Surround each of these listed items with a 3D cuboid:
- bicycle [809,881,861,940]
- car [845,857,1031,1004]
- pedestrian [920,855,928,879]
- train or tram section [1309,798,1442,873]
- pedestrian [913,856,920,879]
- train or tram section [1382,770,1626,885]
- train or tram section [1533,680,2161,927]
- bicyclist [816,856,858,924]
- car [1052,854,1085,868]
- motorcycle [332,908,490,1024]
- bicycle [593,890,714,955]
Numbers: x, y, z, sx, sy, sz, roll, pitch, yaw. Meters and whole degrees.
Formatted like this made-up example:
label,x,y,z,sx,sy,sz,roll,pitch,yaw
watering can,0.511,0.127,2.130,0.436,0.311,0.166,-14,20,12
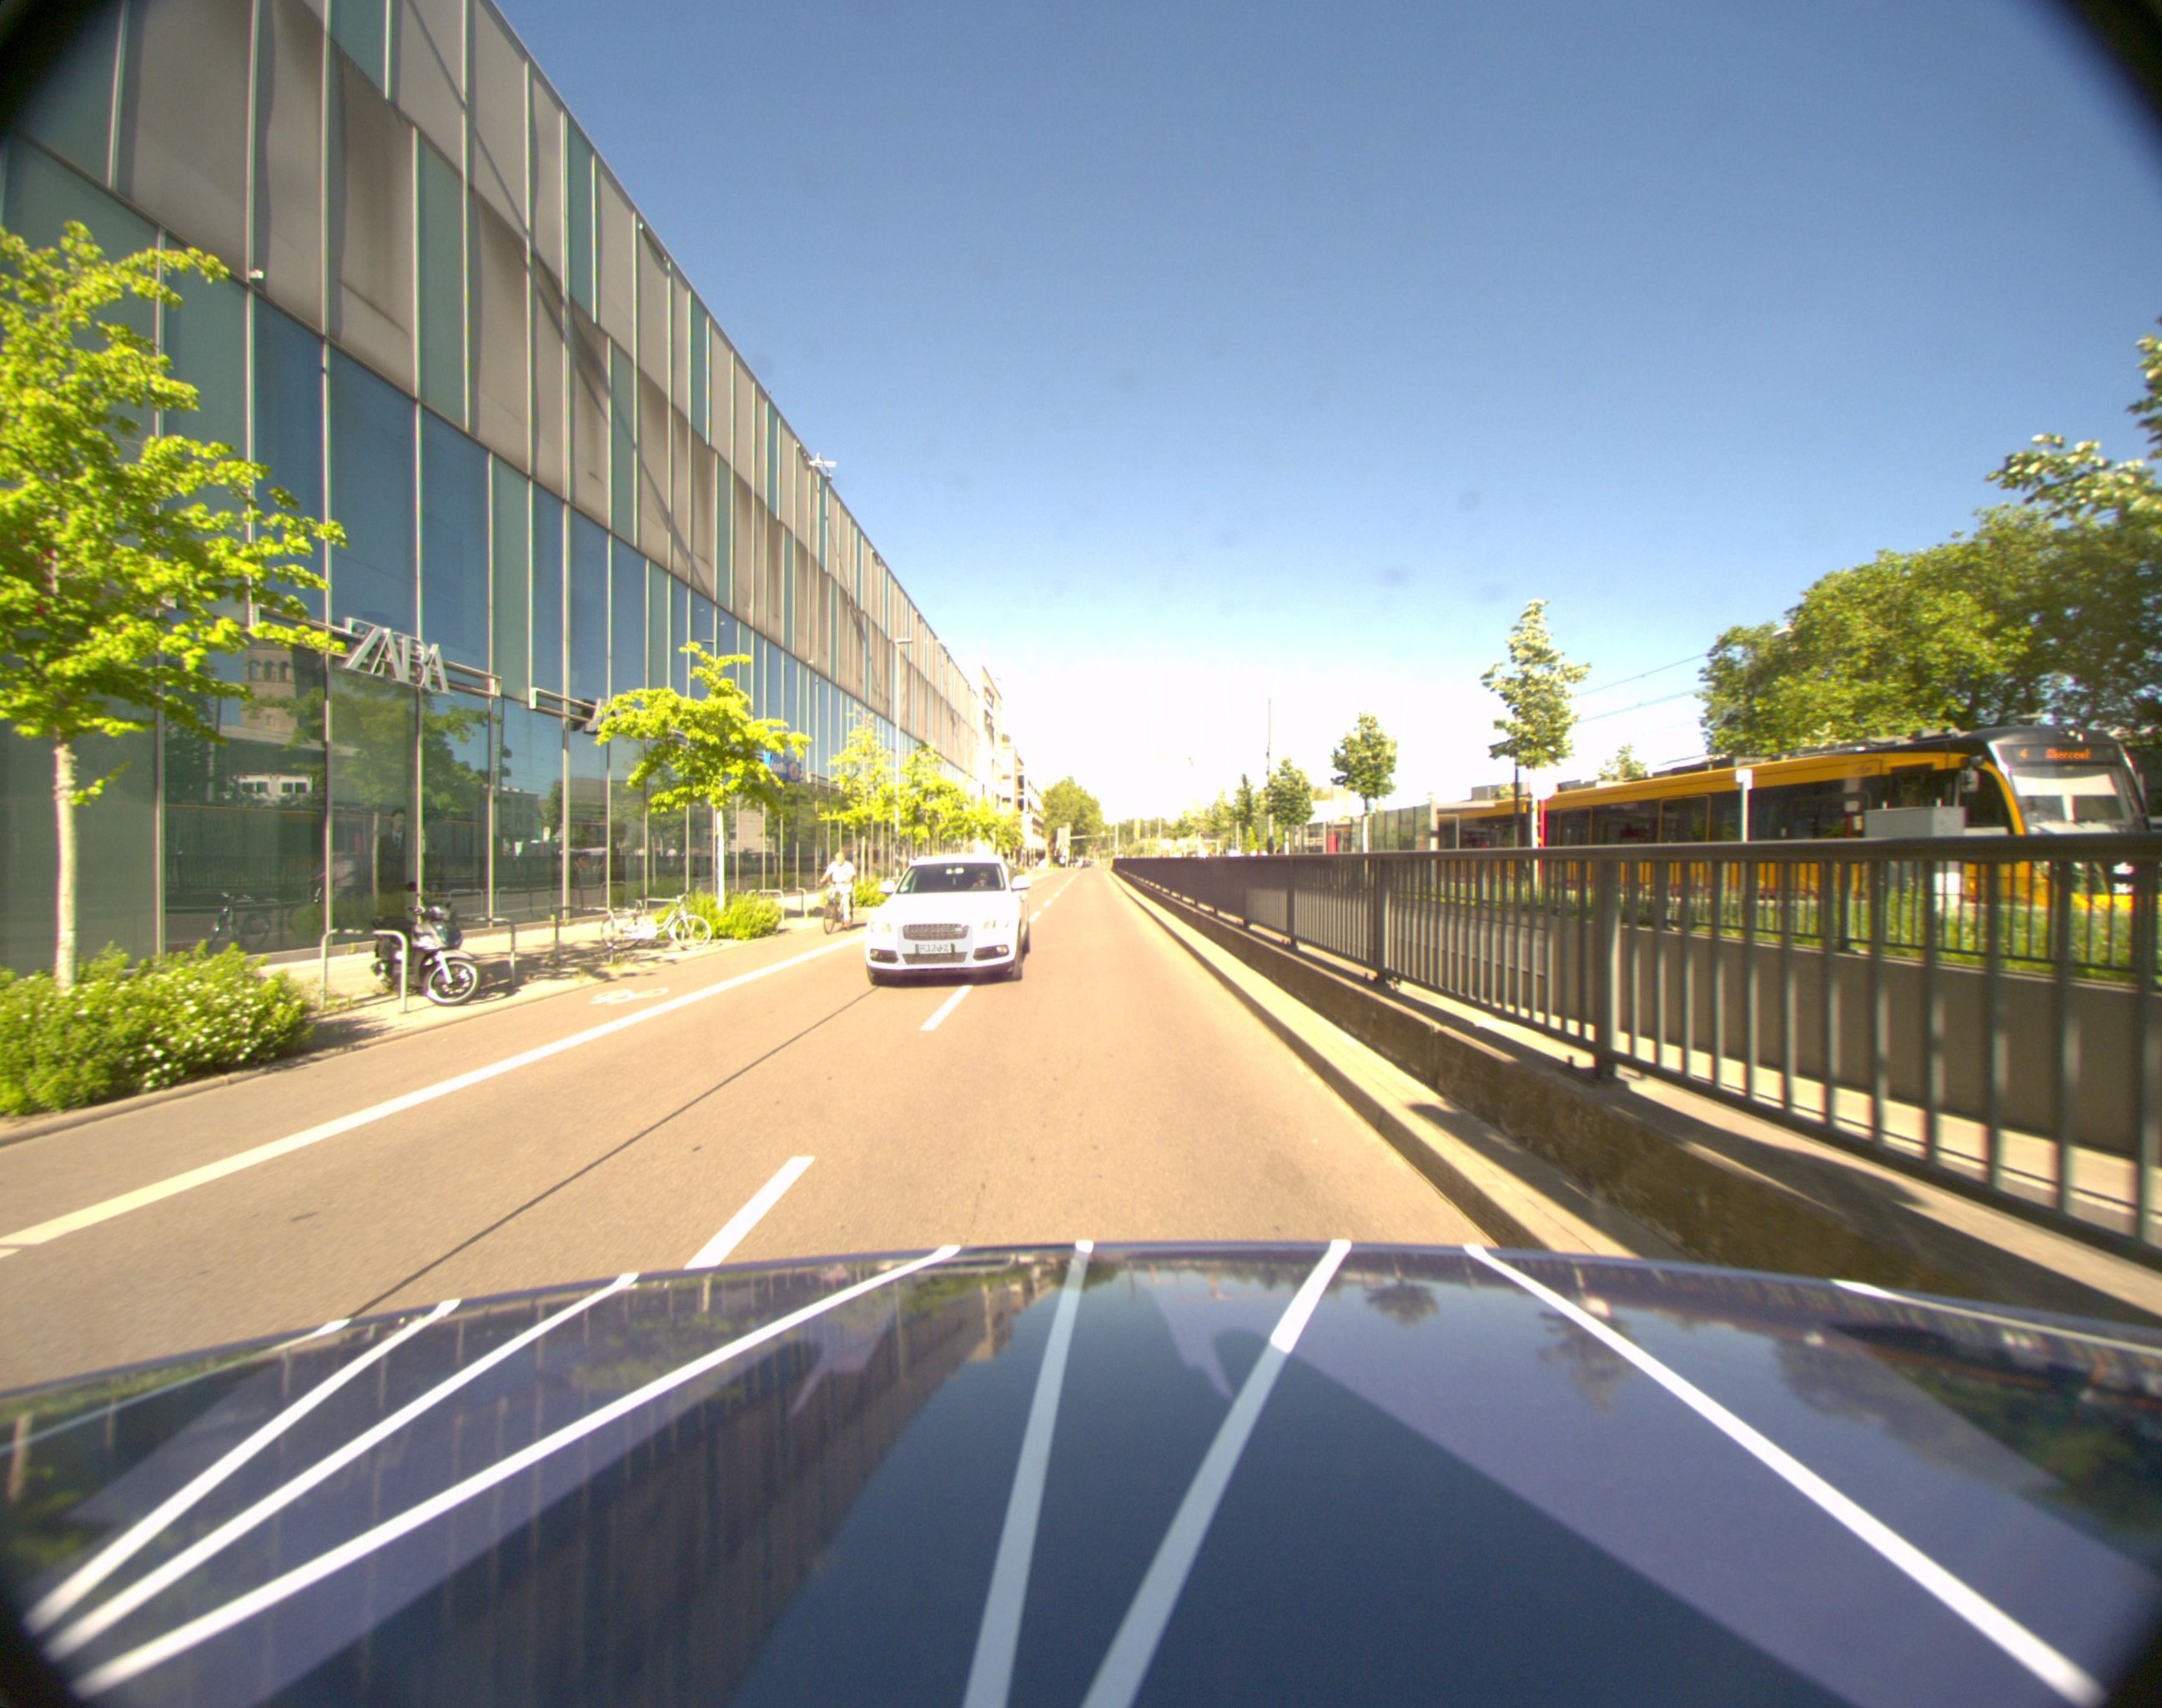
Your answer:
label,x,y,z,sx,sy,sz,roll,pitch,yaw
bicycle,-5.431,1.214,16.901,0.610,1.144,1.986,-1,1,-4
car,-1.768,0.888,10.718,1.934,1.624,3.999,-1,0,-2
pedestrian,-10.990,0.881,53.227,0.450,1.681,0.345,-1,1,1
train or tram section,16.145,-0.947,43.126,2.822,3.617,12.789,0,0,1
pedestrian,-11.482,0.923,53.045,0.450,1.591,0.287,-1,1,1
train or tram section,15.860,-0.858,30.341,2.822,3.617,12.789,0,0,1
train or tram section,15.561,-0.774,17.544,2.822,3.617,12.789,0,0,1
bicyclist,-5.408,0.791,16.861,0.755,1.454,0.587,-1,1,-4
car,-1.474,0.860,89.624,3.802,1.527,1.786,-1,0,-3
motorcycle,-7.652,1.224,8.671,1.876,1.076,0.645,2,2,25
bicycle,-7.410,1.194,13.226,1.741,1.056,0.467,2,0,-15
